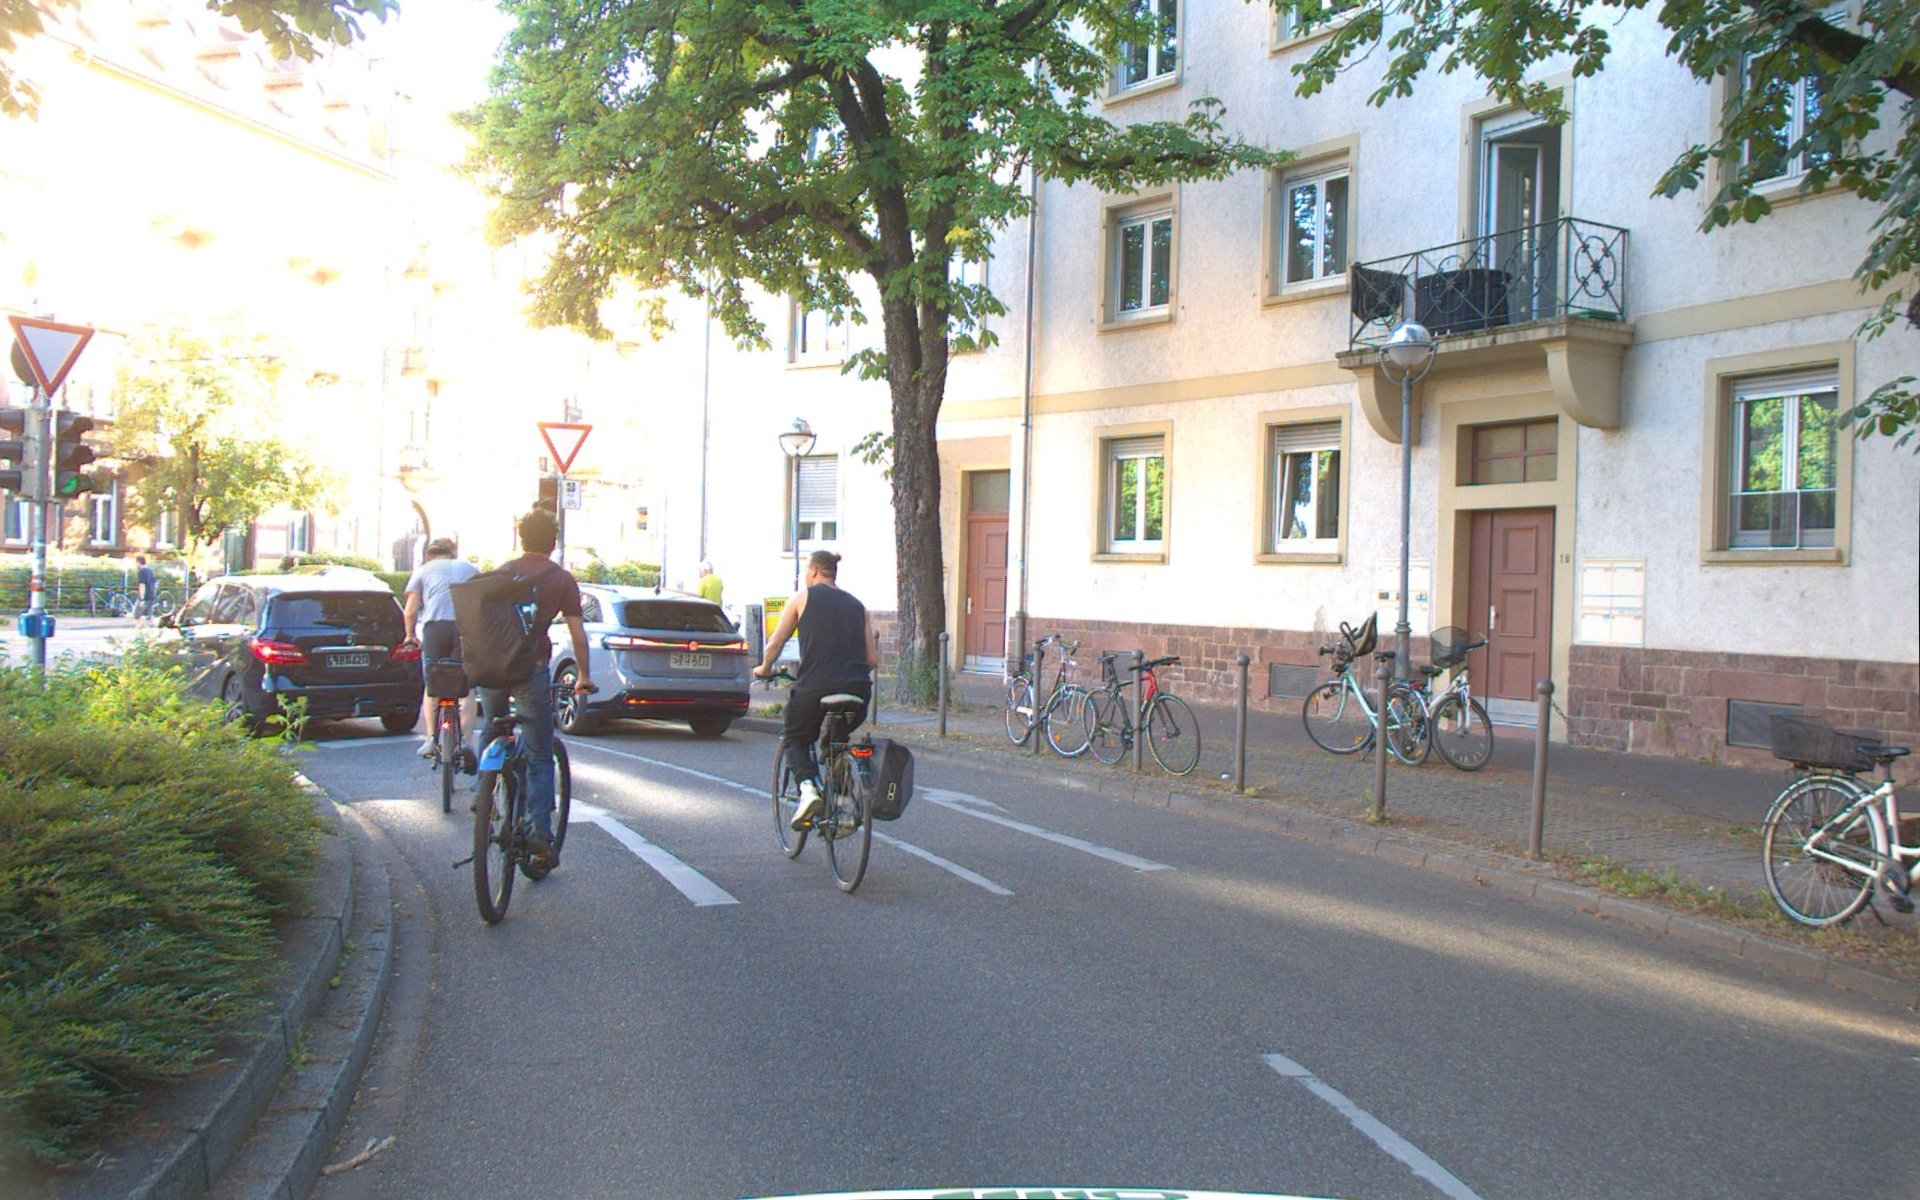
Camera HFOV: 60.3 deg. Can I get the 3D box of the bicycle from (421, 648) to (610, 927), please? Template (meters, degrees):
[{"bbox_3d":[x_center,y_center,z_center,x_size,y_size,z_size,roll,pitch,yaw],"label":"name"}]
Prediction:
[{"bbox_3d":[-2.132,0.849,8.153,0.704,1.126,1.962,2,0,-11],"label":"bicycle"}]

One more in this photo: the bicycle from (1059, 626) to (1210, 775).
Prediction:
[{"bbox_3d":[1.473,0.825,14.262,0.519,1.126,1.728,-1,2,-23],"label":"bicycle"}]

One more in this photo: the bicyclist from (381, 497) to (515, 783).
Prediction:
[{"bbox_3d":[-3.684,0.276,11.857,0.783,1.947,0.938,2,0,-23],"label":"bicyclist"}]

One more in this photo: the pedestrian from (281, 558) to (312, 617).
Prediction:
[{"bbox_3d":[-19.665,-0.372,49.029,0.510,1.745,0.635,2,0,30],"label":"pedestrian"}]

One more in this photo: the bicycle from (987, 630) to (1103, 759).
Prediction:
[{"bbox_3d":[0.790,0.867,15.762,0.473,1.082,1.625,-1,2,-21],"label":"bicycle"}]

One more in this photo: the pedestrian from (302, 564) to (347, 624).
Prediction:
[{"bbox_3d":[-18.581,-0.165,48.345,0.698,1.693,0.895,5,2,34],"label":"pedestrian"}]

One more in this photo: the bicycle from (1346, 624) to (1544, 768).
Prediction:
[{"bbox_3d":[4.259,0.816,14.683,0.657,1.126,1.956,2,0,-19],"label":"bicycle"}]

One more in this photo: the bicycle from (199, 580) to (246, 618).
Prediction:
[{"bbox_3d":[-21.024,-0.026,47.158,0.433,1.056,1.233,2,1,22],"label":"bicycle"}]

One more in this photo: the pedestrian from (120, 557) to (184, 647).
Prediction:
[{"bbox_3d":[-15.616,0.028,31.981,0.887,1.663,0.723,4,0,-15],"label":"pedestrian"}]

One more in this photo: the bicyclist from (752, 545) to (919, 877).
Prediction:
[{"bbox_3d":[-0.694,0.560,8.986,0.676,1.685,0.984,0,0,-19],"label":"bicyclist"}]

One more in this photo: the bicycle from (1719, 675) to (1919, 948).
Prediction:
[{"bbox_3d":[4.354,0.950,7.424,0.505,1.114,1.963,0,1,-19],"label":"bicycle"}]

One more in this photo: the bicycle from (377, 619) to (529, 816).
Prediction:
[{"bbox_3d":[-3.645,0.771,11.754,0.799,1.205,2.211,2,0,-23],"label":"bicycle"}]

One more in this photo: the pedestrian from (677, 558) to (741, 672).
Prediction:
[{"bbox_3d":[-3.976,0.217,26.225,0.638,1.757,0.876,-2,2,-39],"label":"pedestrian"}]

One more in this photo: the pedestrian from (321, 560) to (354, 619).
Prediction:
[{"bbox_3d":[-18.664,-0.301,49.598,0.649,1.745,0.635,2,0,30],"label":"pedestrian"}]

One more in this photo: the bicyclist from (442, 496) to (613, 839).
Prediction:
[{"bbox_3d":[-2.132,0.321,8.262,0.694,1.601,0.955,2,0,-10],"label":"bicyclist"}]

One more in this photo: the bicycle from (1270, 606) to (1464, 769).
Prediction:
[{"bbox_3d":[3.561,0.725,14.662,0.706,1.299,1.955,0,1,-20],"label":"bicycle"}]

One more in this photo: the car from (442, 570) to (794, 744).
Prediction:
[{"bbox_3d":[-3.894,0.570,18.299,1.957,1.613,4.412,4,-1,-39],"label":"car"}]

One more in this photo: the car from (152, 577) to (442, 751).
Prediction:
[{"bbox_3d":[-6.941,0.557,17.115,1.778,1.569,3.806,-1,1,-39],"label":"car"}]

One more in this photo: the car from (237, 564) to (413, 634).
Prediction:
[{"bbox_3d":[-16.396,-0.010,42.968,1.901,1.679,4.412,2,0,17],"label":"car"}]

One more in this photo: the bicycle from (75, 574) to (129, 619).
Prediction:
[{"bbox_3d":[-22.514,-0.088,43.413,0.433,1.126,1.233,2,1,23],"label":"bicycle"}]

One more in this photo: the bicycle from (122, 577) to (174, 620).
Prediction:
[{"bbox_3d":[-21.947,-0.040,44.720,0.433,1.126,1.233,2,1,23],"label":"bicycle"}]
